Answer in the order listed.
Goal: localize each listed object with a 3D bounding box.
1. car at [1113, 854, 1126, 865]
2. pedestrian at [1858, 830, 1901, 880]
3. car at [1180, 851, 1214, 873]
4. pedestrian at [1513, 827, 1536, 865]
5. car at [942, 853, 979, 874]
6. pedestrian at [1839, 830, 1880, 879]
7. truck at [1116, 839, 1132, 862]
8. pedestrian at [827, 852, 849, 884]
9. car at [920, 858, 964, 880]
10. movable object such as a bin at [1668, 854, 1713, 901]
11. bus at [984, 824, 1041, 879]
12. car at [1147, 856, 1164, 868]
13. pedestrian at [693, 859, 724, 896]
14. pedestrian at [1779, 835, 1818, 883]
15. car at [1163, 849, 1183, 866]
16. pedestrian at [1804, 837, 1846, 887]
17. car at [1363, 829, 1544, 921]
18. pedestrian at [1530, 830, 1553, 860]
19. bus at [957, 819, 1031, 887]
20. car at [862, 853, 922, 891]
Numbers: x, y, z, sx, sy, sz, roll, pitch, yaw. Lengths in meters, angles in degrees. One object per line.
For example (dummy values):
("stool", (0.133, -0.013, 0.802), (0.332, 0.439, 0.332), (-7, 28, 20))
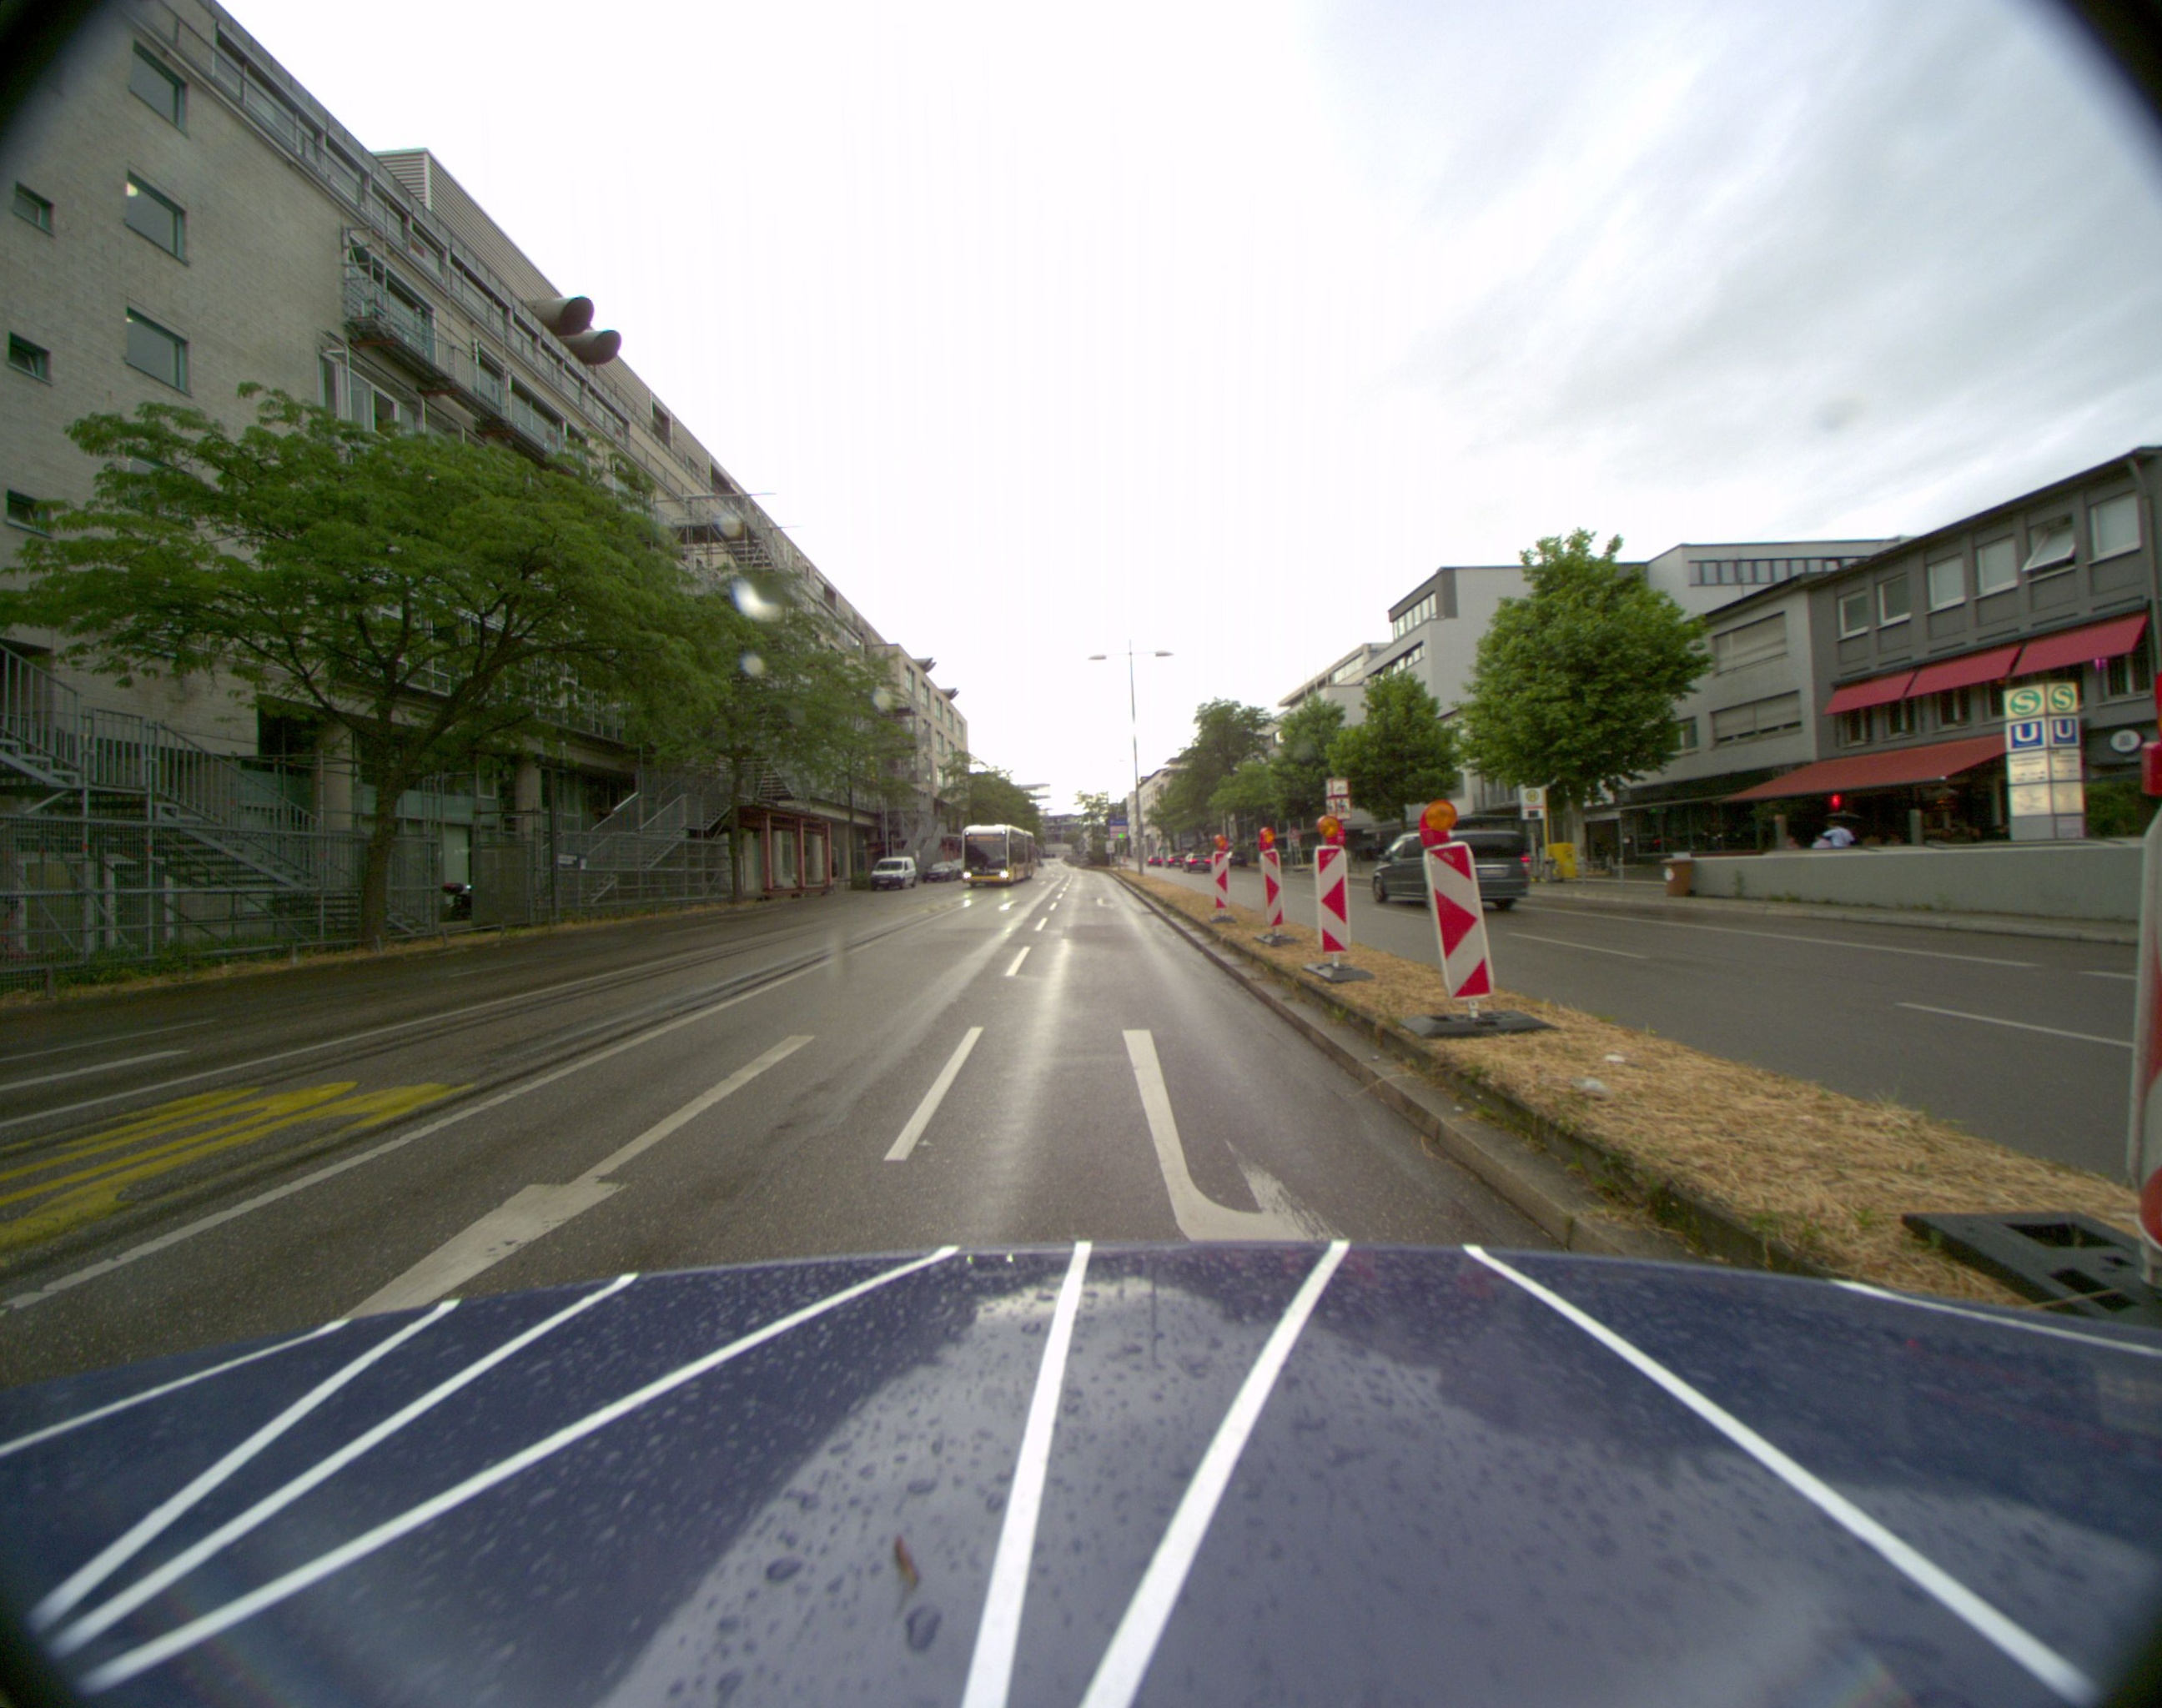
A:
("car", (6.980, 0.971, 139.220), (1.999, 2.002, 3.999), (-2, 1, -2))
("pedestrian", (24.990, 0.031, 23.790), (0.669, 1.520, 0.611), (-2, 1, 3))
("car", (8.757, 0.592, 57.735), (1.692, 1.501, 4.290), (-2, 0, -3))
("pedestrian", (23.801, -0.426, 40.782), (0.774, 2.002, 0.767), (-2, 1, 8))
("car", (-9.635, 0.758, 61.212), (2.147, 1.486, 4.816), (-2, 1, 0))
("pedestrian", (25.114, 0.018, 24.528), (0.669, 1.520, 0.611), (-2, 1, 4))
("truck", (7.100, -0.572, 127.113), (1.999, 3.557, 7.572), (-2, 0, -2))
("pedestrian", (-15.951, 0.909, 49.908), (1.009, 2.002, 1.039), (-2, 1, 1))
("car", (-9.896, 1.024, 54.418), (2.147, 1.329, 4.816), (-2, 1, 0))
("movable object such as a bin", (14.561, 0.549, 18.166), (0.507, 1.094, 0.660), (-2, 1, -2))
("bus", (-4.706, -0.202, 53.917), (2.890, 3.420, 9.709), (-2, 1, 1))
("car", (10.193, 1.093, 103.965), (1.692, 1.545, 4.419), (-2, 1, -2))
("pedestrian", (-18.334, 1.150, 37.431), (1.009, 1.789, 0.846), (-2, 1, 5))
("pedestrian", (23.344, 0.170, 24.716), (0.669, 1.520, 0.611), (-2, 1, 3))
("car", (9.888, 0.389, 81.685), (1.691, 1.421, 4.218), (-2, -5, 1))
("pedestrian", (23.189, 0.240, 23.696), (0.669, 1.520, 0.611), (-2, 1, 3))
("car", (9.065, 0.370, 19.091), (1.999, 1.917, 4.962), (-2, 2, -1))
("pedestrian", (24.836, -0.501, 40.960), (0.774, 1.556, 0.767), (-2, 1, 8))
("bus", (-4.844, -0.092, 44.187), (2.890, 3.430, 9.756), (-2, 1, 1))
("car", (-10.529, 0.941, 42.654), (2.213, 1.895, 4.329), (-2, 1, 0))
